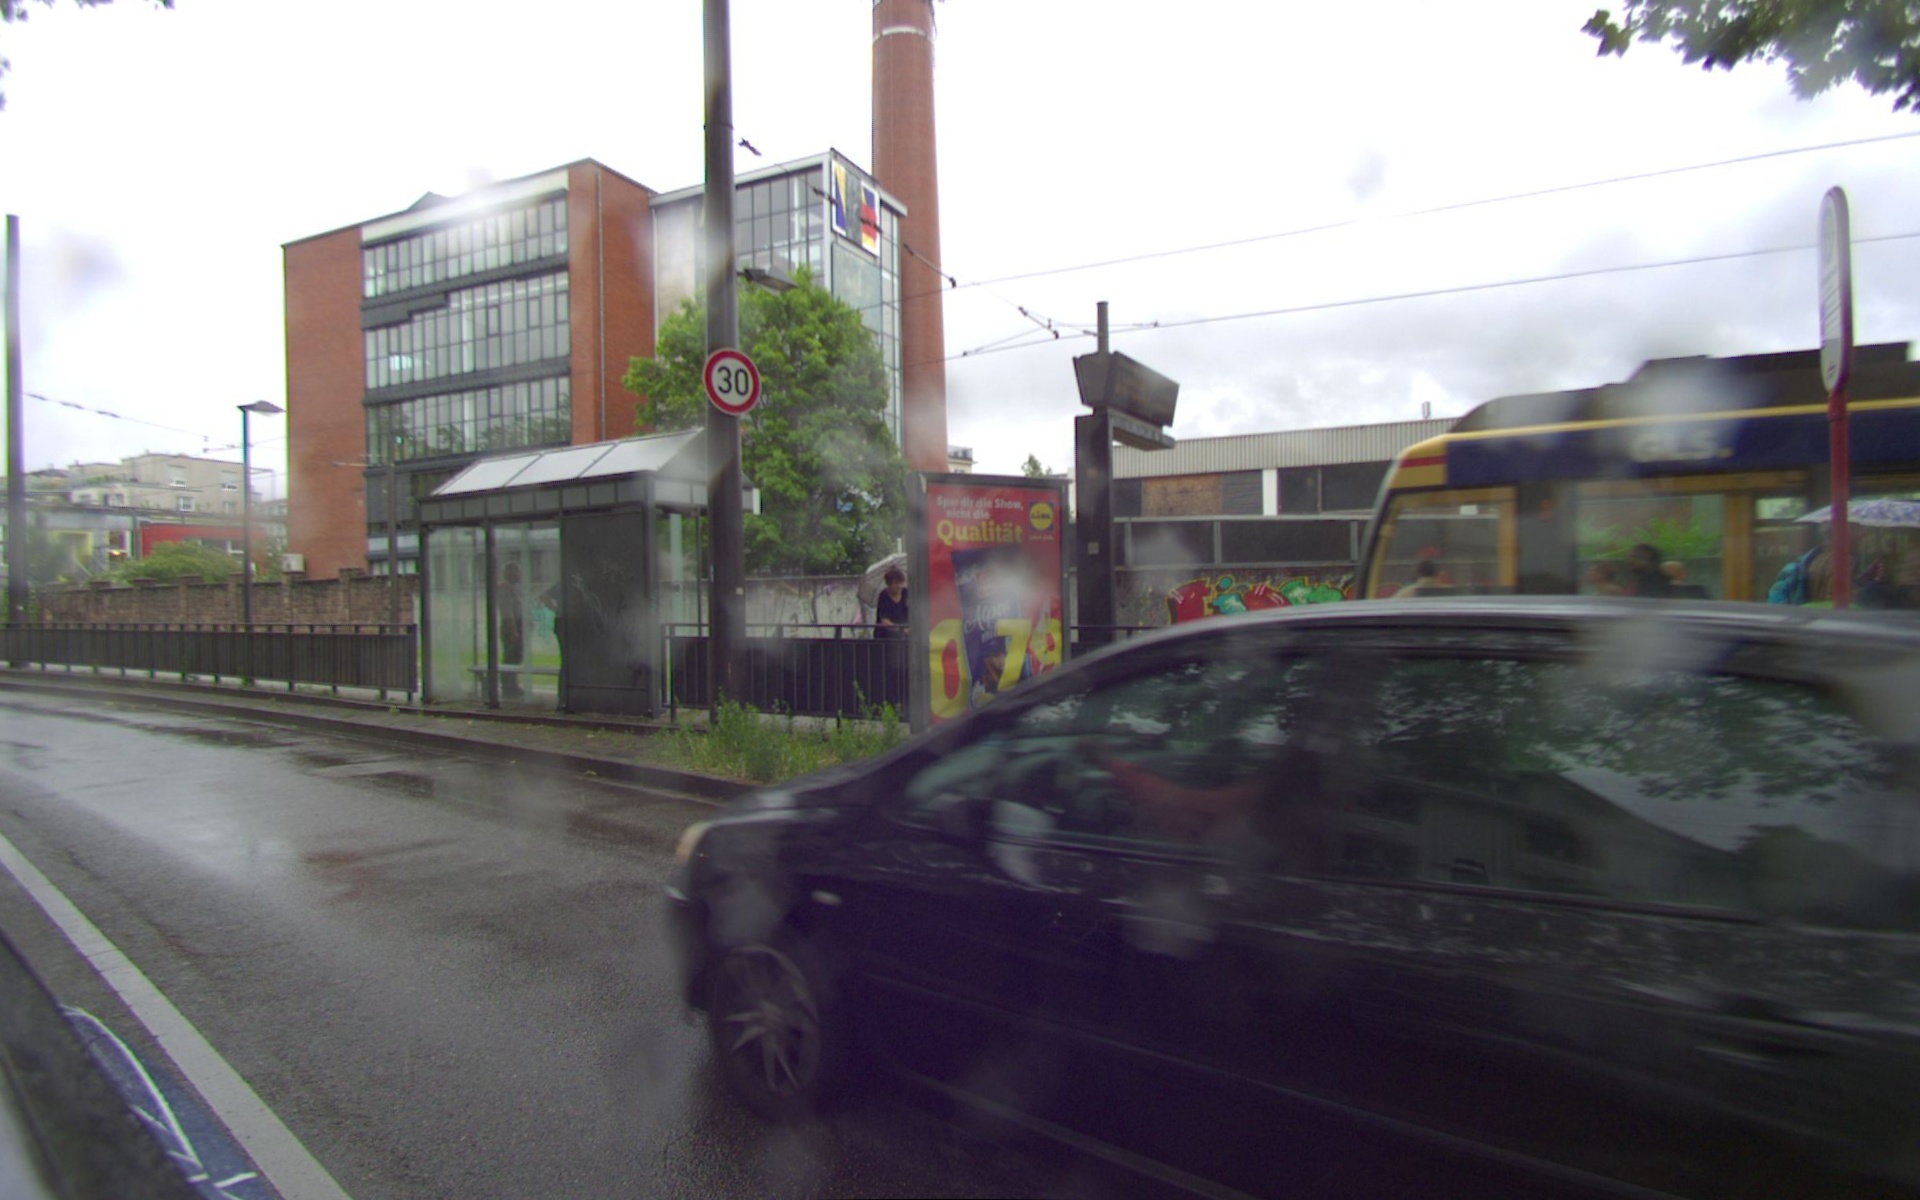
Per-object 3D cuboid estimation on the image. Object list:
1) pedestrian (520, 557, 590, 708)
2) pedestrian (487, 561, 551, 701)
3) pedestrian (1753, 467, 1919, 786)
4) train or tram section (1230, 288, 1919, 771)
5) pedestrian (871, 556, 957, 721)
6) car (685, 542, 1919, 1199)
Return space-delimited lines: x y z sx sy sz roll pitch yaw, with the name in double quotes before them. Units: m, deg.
"pedestrian" -4.914 0.378 12.279 0.620 1.762 0.565 -1 0 -41
"pedestrian" -5.713 0.388 13.112 0.620 1.762 0.515 -1 0 -41
"pedestrian" 5.774 0.168 6.302 1.072 1.840 0.975 -4 -4 30
"train or tram section" 10.084 -0.575 7.611 15.288 3.572 2.845 -1 0 26
"pedestrian" -0.461 0.402 10.334 0.504 1.610 0.790 -4 -4 30
"car" 1.176 0.661 2.468 3.743 1.470 1.697 -1 0 39
